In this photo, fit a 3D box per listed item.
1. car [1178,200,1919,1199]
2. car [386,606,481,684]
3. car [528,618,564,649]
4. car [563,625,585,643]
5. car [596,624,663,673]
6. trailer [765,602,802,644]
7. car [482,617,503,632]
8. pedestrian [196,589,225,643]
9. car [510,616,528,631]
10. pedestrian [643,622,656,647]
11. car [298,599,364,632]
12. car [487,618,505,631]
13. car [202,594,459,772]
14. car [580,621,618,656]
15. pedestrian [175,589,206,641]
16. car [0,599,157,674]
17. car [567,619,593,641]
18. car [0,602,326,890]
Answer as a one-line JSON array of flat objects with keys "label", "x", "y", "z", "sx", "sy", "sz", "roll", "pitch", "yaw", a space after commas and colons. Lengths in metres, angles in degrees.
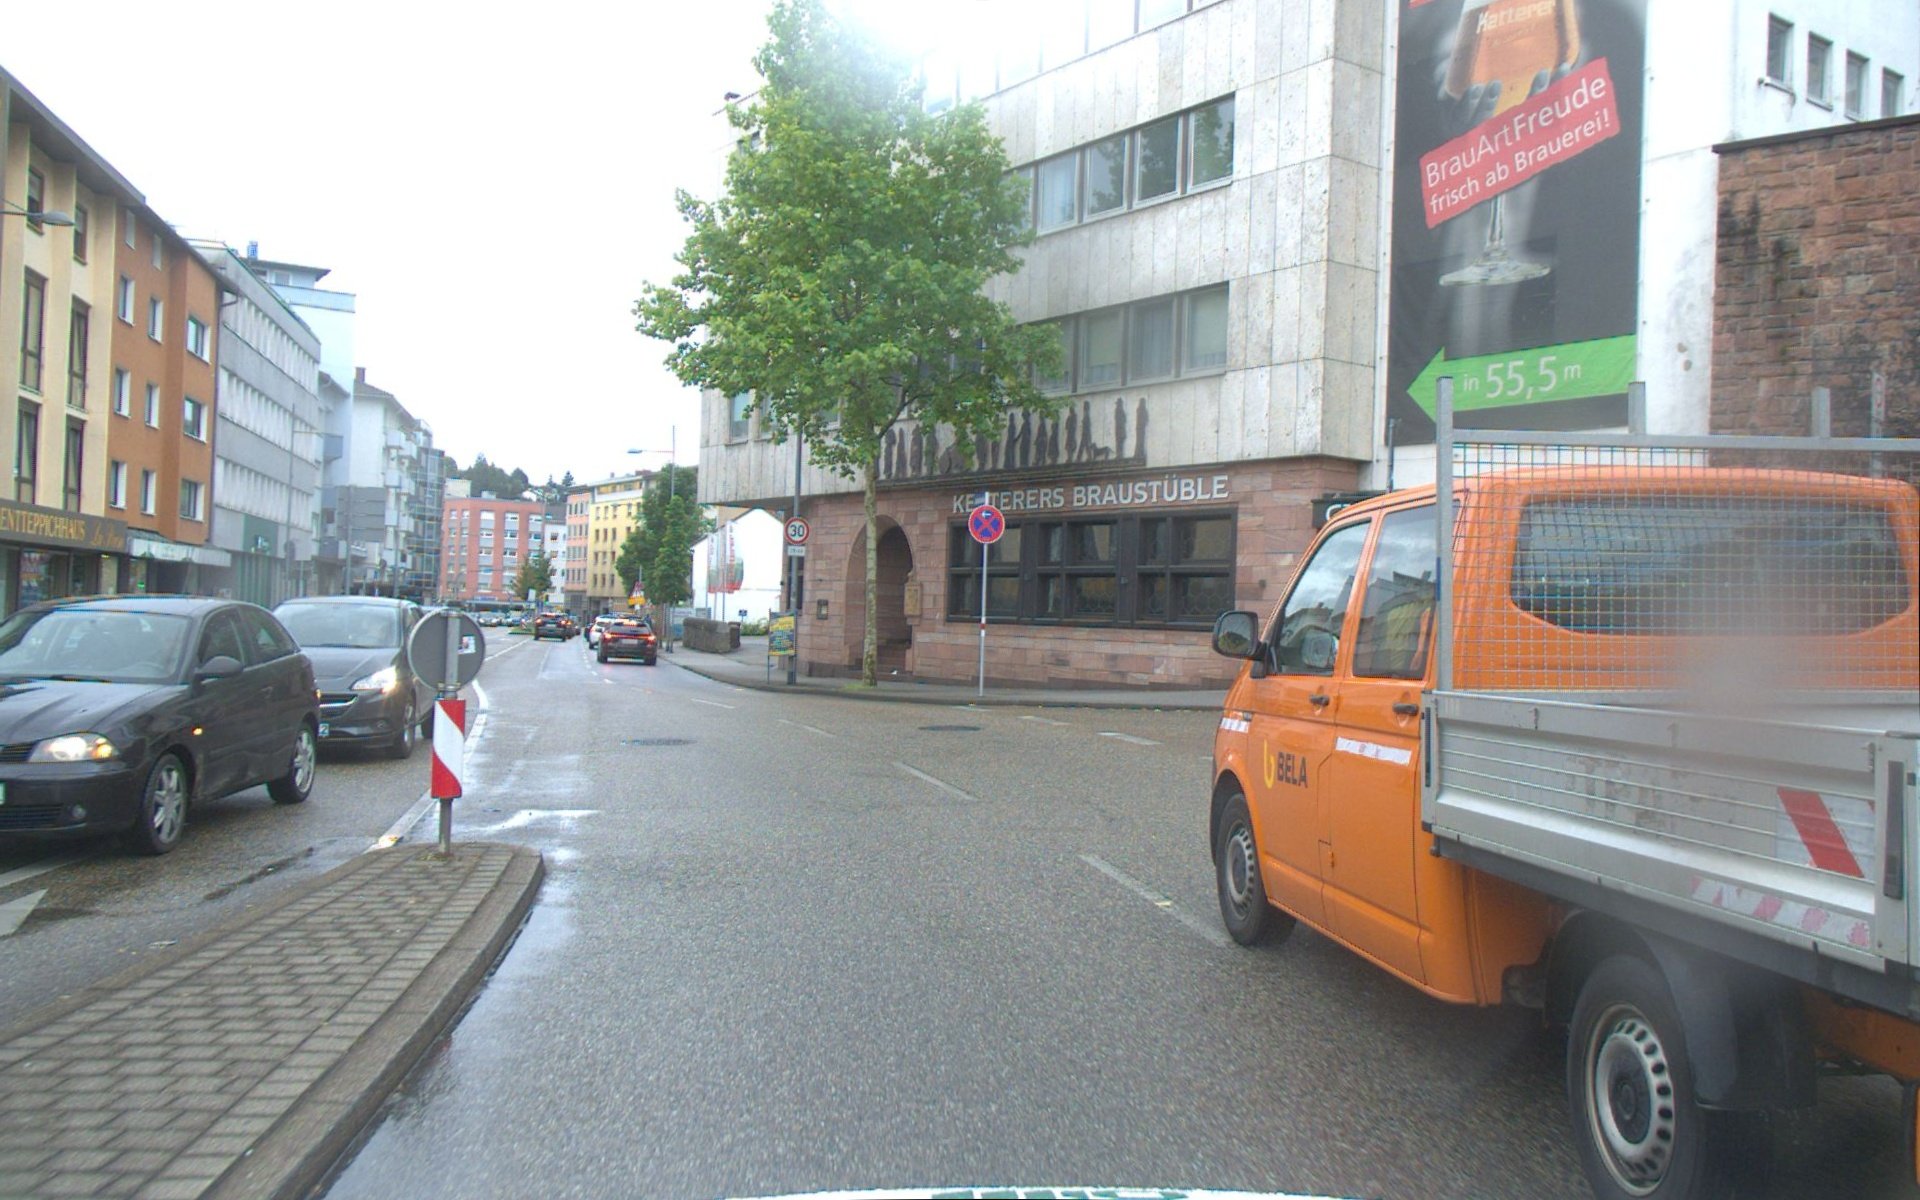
[{"label": "car", "x": 2.349, "y": 0.439, "z": 5.433, "sx": 2.061, "sy": 2.126, "sz": 5.534, "roll": 0, "pitch": -1, "yaw": -5}, {"label": "car", "x": -10.892, "y": 0.902, "z": 34.160, "sx": 1.706, "sy": 1.465, "sz": 4.389, "roll": 2, "pitch": -1, "yaw": -19}, {"label": "car", "x": -24.101, "y": 1.929, "z": 96.306, "sx": 1.791, "sy": 1.628, "sz": 3.707, "roll": 4, "pitch": -2, "yaw": -12}, {"label": "car", "x": -30.921, "y": 2.690, "z": 132.486, "sx": 1.613, "sy": 1.405, "sz": 3.335, "roll": 1, "pitch": -1, "yaw": -14}, {"label": "car", "x": -11.070, "y": 1.588, "z": 55.177, "sx": 1.760, "sy": 1.427, "sz": 4.613, "roll": 5, "pitch": -2, "yaw": -16}, {"label": "trailer", "x": -12.025, "y": 1.546, "z": 112.608, "sx": 2.089, "sy": 2.764, "sz": 5.377, "roll": 0, "pitch": 0, "yaw": -11}, {"label": "car", "x": -47.192, "y": 2.451, "z": 166.982, "sx": 1.678, "sy": 1.493, "sz": 4.813, "roll": 0, "pitch": -1, "yaw": -12}, {"label": "pedestrian", "x": -26.091, "y": 0.551, "z": 57.571, "sx": 0.565, "sy": 1.819, "sz": 0.824, "roll": 7, "pitch": -3, "yaw": -13}, {"label": "car", "x": -44.825, "y": 2.380, "z": 168.167, "sx": 1.690, "sy": 1.448, "sz": 4.151, "roll": 0, "pitch": -1, "yaw": -13}, {"label": "pedestrian", "x": -22.393, "y": 2.468, "z": 119.371, "sx": 0.775, "sy": 1.786, "sz": 0.871, "roll": 1, "pitch": -1, "yaw": 0}, {"label": "car", "x": -42.674, "y": 1.032, "z": 112.289, "sx": 3.893, "sy": 2.070, "sz": 1.575, "roll": 2, "pitch": -2, "yaw": -12}, {"label": "car", "x": -52.648, "y": 2.754, "z": 187.612, "sx": 1.695, "sy": 1.448, "sz": 4.139, "roll": 0, "pitch": -1, "yaw": -20}, {"label": "car", "x": -5.997, "y": 0.736, "z": 16.201, "sx": 1.614, "sy": 1.479, "sz": 3.979, "roll": 2, "pitch": -1, "yaw": -11}, {"label": "car", "x": -17.173, "y": 1.829, "z": 78.668, "sx": 1.636, "sy": 1.420, "sz": 3.854, "roll": 3, "pitch": 0, "yaw": -13}, {"label": "pedestrian", "x": -26.660, "y": 0.526, "z": 57.339, "sx": 0.619, "sy": 1.704, "sz": 0.905, "roll": 7, "pitch": -3, "yaw": -14}, {"label": "car", "x": -18.140, "y": 0.781, "z": 34.216, "sx": 1.698, "sy": 1.390, "sz": 4.098, "roll": 2, "pitch": -2, "yaw": -12}, {"label": "car", "x": -25.542, "y": 1.995, "z": 111.081, "sx": 1.613, "sy": 1.405, "sz": 3.335, "roll": 1, "pitch": -1, "yaw": -14}, {"label": "car", "x": -5.243, "y": 0.749, "z": 10.234, "sx": 1.526, "sy": 1.422, "sz": 3.722, "roll": 1, "pitch": 0, "yaw": -6}]
